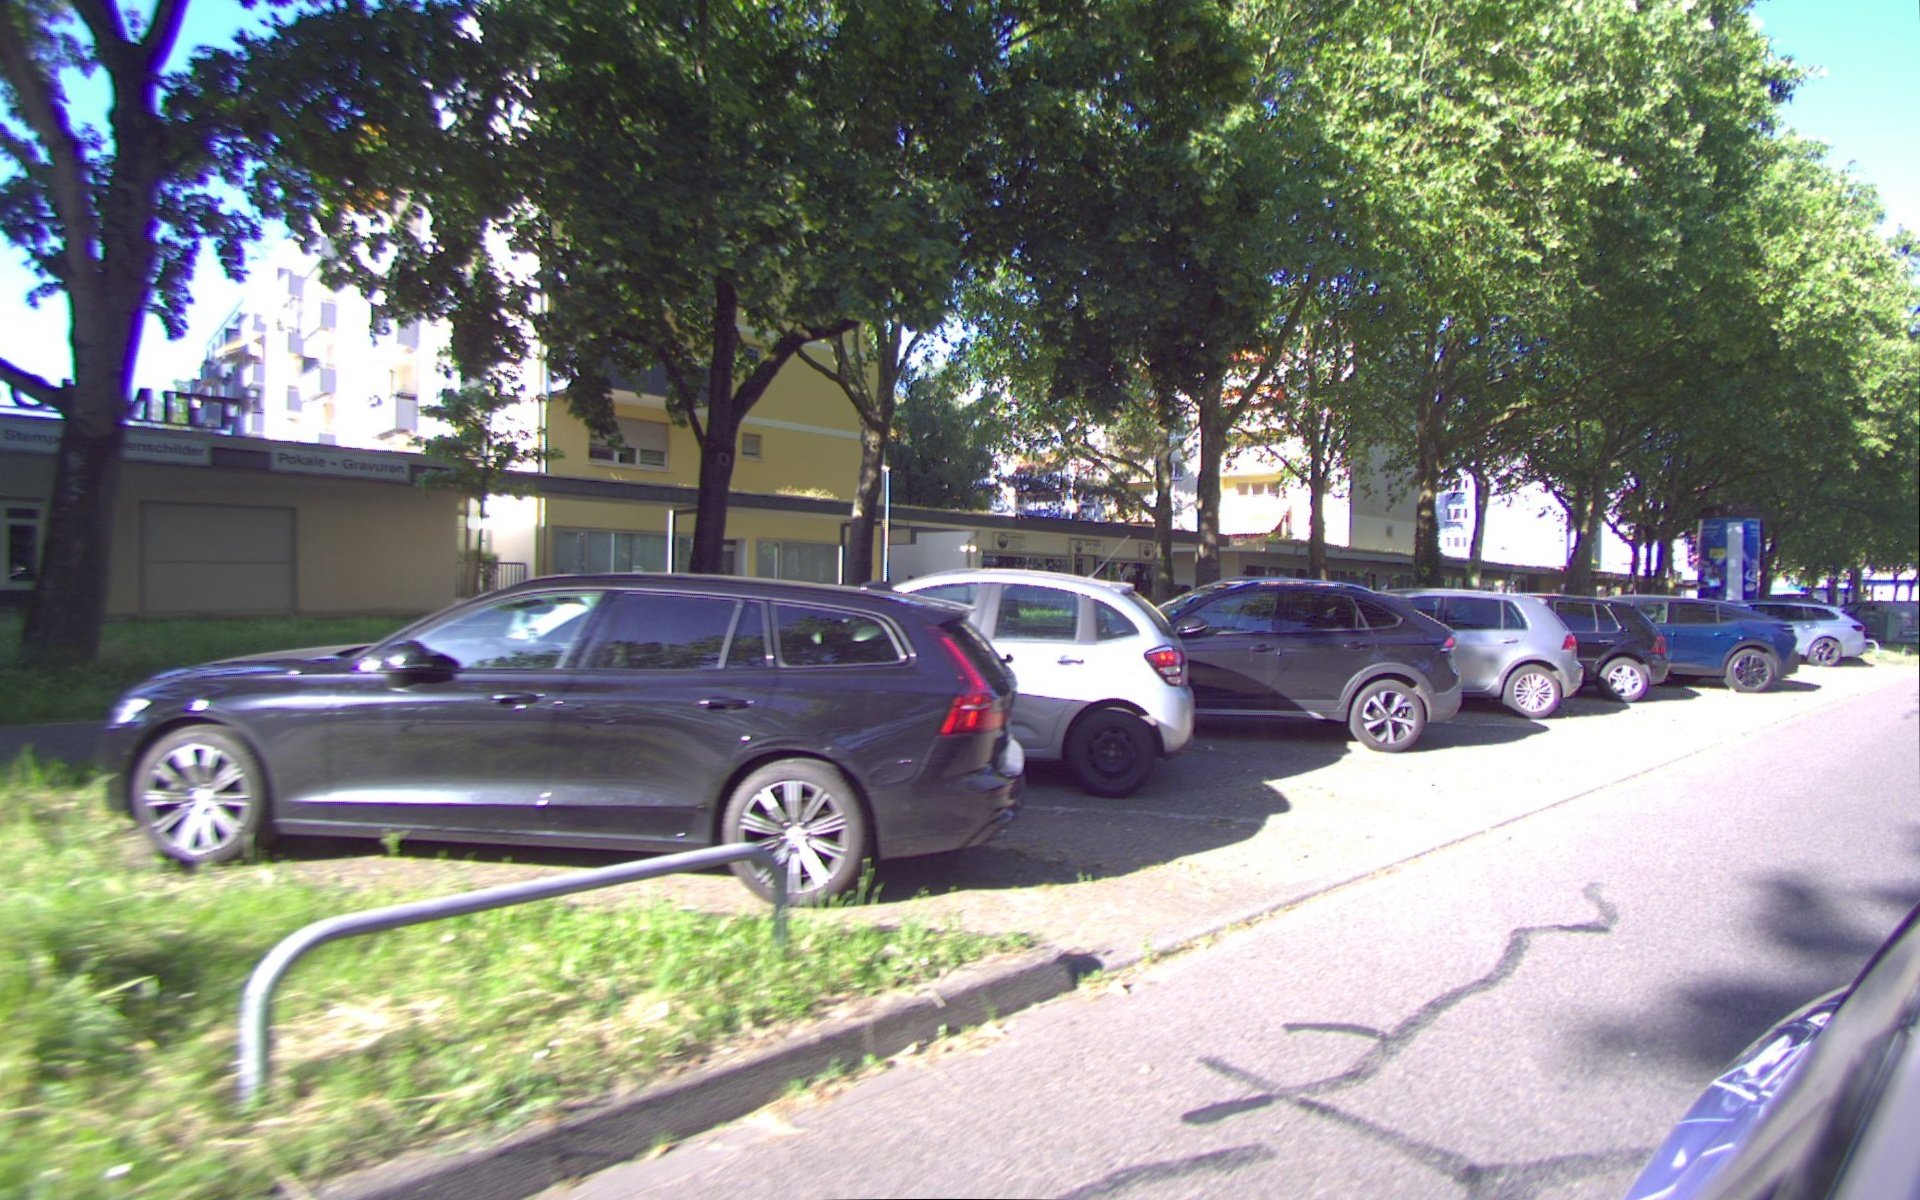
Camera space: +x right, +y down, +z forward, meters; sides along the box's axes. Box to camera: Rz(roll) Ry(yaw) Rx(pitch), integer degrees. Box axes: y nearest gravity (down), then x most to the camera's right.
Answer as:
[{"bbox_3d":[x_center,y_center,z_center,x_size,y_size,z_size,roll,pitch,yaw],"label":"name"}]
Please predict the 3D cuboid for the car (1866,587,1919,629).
[{"bbox_3d":[44.595,0.400,46.517,4.019,1.833,1.647,2,2,10],"label":"car"}]

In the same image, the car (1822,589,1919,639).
[{"bbox_3d":[34.860,0.518,37.394,4.252,1.738,1.631,1,0,11],"label":"car"}]

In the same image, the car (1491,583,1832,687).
[{"bbox_3d":[11.583,0.528,16.998,4.254,1.442,1.854,2,2,6],"label":"car"}]

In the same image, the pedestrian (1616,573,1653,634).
[{"bbox_3d":[22.083,0.099,33.129,0.872,1.938,0.858,2,1,41],"label":"pedestrian"}]

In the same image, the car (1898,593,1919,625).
[{"bbox_3d":[54.830,0.584,55.949,3.961,1.726,1.757,2,2,9],"label":"car"}]

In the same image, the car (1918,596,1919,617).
[{"bbox_3d":[64.810,0.539,65.472,3.871,1.390,1.585,2,2,6],"label":"car"}]

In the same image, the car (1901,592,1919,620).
[{"bbox_3d":[52.337,0.393,53.296,3.722,1.488,1.649,2,2,6],"label":"car"}]

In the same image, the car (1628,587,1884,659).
[{"bbox_3d":[18.909,0.514,24.224,4.416,1.461,1.854,2,2,6],"label":"car"}]

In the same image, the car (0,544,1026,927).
[{"bbox_3d":[-1.963,0.519,5.245,4.541,1.477,1.978,1,1,4],"label":"car"}]

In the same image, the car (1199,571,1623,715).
[{"bbox_3d":[5.391,0.461,12.660,4.383,1.468,1.919,2,3,5],"label":"car"}]

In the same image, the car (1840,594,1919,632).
[{"bbox_3d":[41.163,0.586,43.995,4.025,1.499,1.645,2,2,14],"label":"car"}]

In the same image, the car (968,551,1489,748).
[{"bbox_3d":[2.429,0.400,10.034,4.542,1.589,1.855,2,2,5],"label":"car"}]

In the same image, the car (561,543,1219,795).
[{"bbox_3d":[-0.478,0.423,7.853,4.544,1.589,1.854,1,1,6],"label":"car"}]

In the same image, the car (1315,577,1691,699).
[{"bbox_3d":[7.760,0.489,14.901,4.386,1.468,1.917,2,3,7],"label":"car"}]
